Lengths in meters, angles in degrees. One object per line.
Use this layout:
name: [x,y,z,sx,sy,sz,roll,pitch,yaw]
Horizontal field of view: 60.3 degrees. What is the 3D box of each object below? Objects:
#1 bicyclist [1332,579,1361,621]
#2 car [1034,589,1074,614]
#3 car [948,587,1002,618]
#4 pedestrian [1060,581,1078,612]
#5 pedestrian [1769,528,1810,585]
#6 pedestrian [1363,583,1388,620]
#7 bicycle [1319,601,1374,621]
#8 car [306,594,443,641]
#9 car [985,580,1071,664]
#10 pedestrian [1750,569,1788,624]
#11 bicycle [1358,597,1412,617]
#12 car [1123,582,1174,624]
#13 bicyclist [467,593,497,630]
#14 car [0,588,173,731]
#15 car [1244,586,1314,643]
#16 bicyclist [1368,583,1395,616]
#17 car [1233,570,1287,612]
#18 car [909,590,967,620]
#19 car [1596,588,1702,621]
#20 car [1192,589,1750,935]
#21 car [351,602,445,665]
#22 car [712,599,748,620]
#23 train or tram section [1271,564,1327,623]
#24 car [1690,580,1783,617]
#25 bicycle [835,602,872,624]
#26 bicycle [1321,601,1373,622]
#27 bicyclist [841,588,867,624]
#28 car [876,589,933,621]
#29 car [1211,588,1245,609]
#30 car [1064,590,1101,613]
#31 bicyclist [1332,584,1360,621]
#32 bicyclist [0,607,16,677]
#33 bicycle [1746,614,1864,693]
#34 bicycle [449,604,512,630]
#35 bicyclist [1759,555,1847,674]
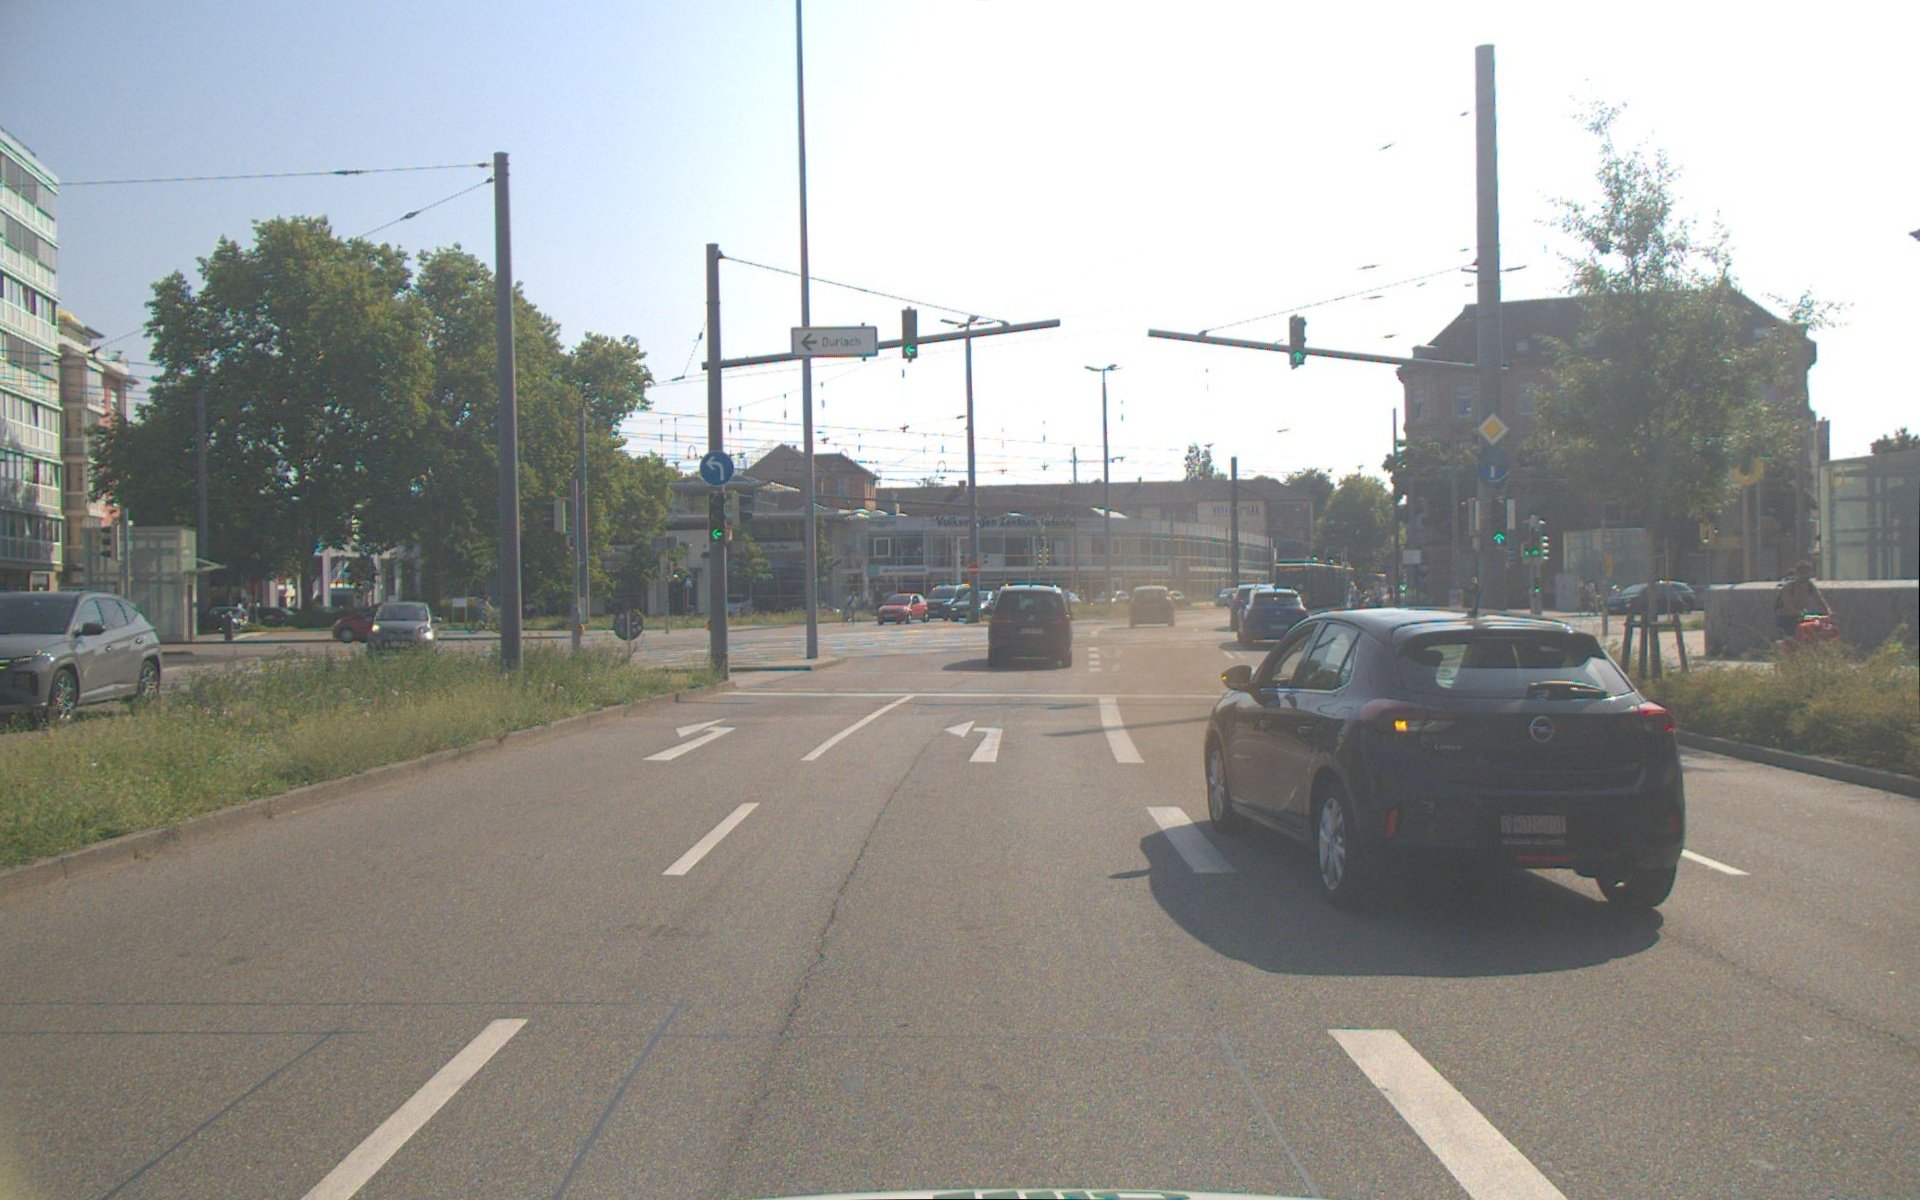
bicyclist: [19.293,0.018,82.548,0.926,2.059,1.080,-1,0,-34]
car: [6.116,0.077,107.177,1.580,1.501,4.002,-3,-1,18]
car: [0.788,0.110,84.686,1.580,1.501,4.002,-3,-1,17]
pedestrian: [5.392,-0.184,81.947,0.761,1.529,0.711,-1,0,13]
pedestrian: [25.512,-1.317,50.854,0.906,1.719,0.919,-1,0,42]
pedestrian: [21.030,0.078,83.719,0.919,1.828,0.848,-1,0,-38]
bicycle: [19.827,0.556,84.827,2.581,0.981,1.086,-1,0,-22]
car: [-21.245,0.628,60.119,4.312,1.562,1.829,-1,0,-6]
car: [1.454,0.433,36.715,1.788,1.744,4.413,0,0,1]
pedestrian: [25.513,-0.115,52.132,0.905,1.719,0.833,-1,0,40]
bicycle: [22.160,0.361,86.294,2.581,0.981,1.086,-1,0,-22]
car: [7.520,0.083,65.554,1.786,1.562,4.416,-1,0,9]
bicyclist: [-20.933,0.494,72.479,1.142,1.554,0.958,-2,0,-12]
car: [-11.713,0.697,21.266,1.663,1.645,4.452,-1,0,-9]
car: [8.770,0.373,45.750,1.786,1.453,4.416,-1,0,10]
bicyclist: [21.979,-0.010,86.216,0.920,1.709,1.086,-1,0,-21]
car: [10.918,-0.341,60.389,1.786,1.453,4.416,-1,0,8]
car: [-1.163,0.237,89.788,1.919,1.501,4.002,-3,-1,17]
car: [30.702,0.202,73.731,4.318,1.421,2.007,-1,0,-26]
car: [2.584,0.708,9.527,1.649,1.518,4.369,0,0,-3]
car: [-14.152,0.799,41.845,1.856,1.477,3.663,-1,0,-13]
car: [-16.961,0.695,122.269,1.663,1.549,4.102,-1,0,7]
train or tram section: [23.081,-0.491,112.199,2.599,3.763,10.595,-1,0,18]
car: [41.006,-0.081,87.328,4.188,1.891,1.924,-1,0,-15]
bicycle: [-5.351,0.653,83.210,0.937,1.075,2.609,-1,0,18]
bicycle: [19.339,0.571,82.570,2.596,0.981,1.080,-1,0,-35]
bicyclist: [-5.327,0.298,83.289,0.937,1.779,1.167,-1,0,19]
car: [-2.750,0.252,82.608,1.580,1.501,4.002,-3,-1,17]
car: [21.090,-0.143,129.961,1.582,1.501,3.998,-3,-1,25]
car: [8.539,0.118,114.770,1.580,1.501,4.002,-3,-1,18]
bicyclist: [19.807,0.128,84.818,0.920,1.831,1.086,-1,0,-21]
bicyclist: [-21.626,0.936,36.850,0.779,1.554,0.725,-1,0,-9]
bicycle: [11.176,0.686,21.945,0.704,0.976,1.922,-1,0,5]
bicycle: [-20.989,0.747,72.452,2.554,1.075,0.958,-1,0,-13]
bicyclist: [11.165,0.187,21.934,0.704,1.539,1.005,-1,0,6]
